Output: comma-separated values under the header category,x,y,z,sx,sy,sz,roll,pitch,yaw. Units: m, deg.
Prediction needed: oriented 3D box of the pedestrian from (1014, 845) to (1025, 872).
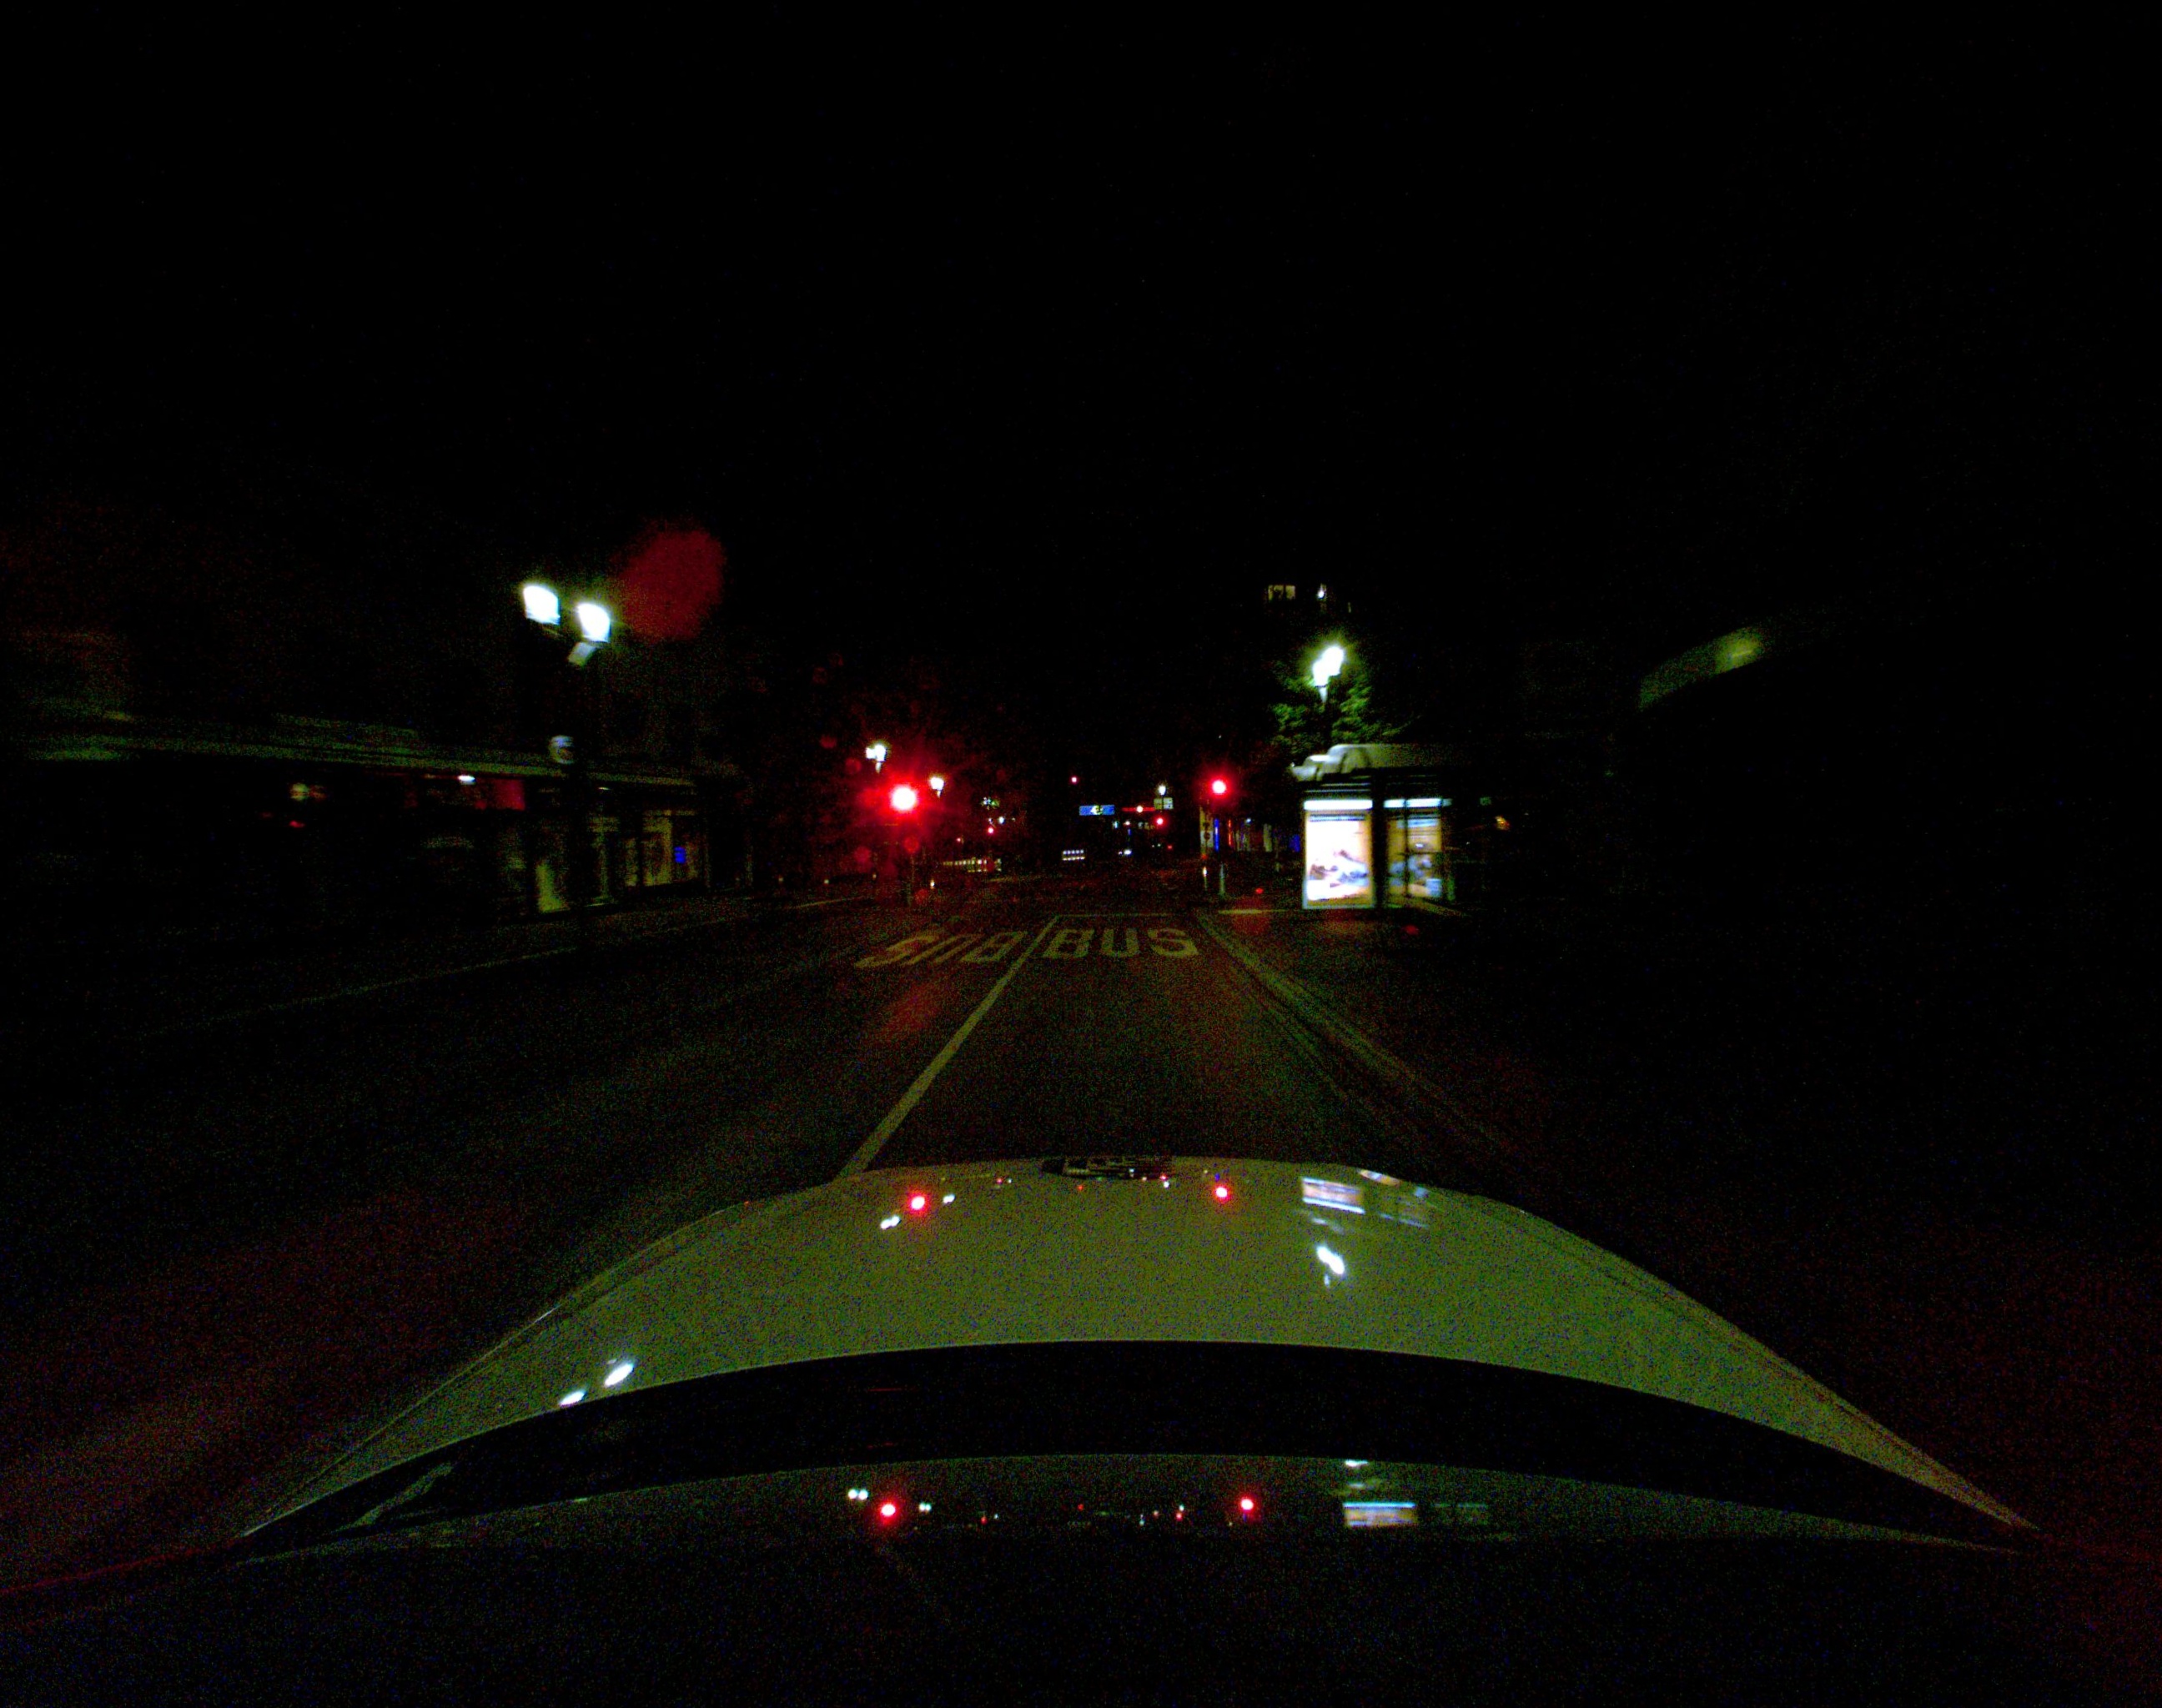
category,x,y,z,sx,sy,sz,roll,pitch,yaw
pedestrian,-4.026,0.291,53.175,0.568,1.795,0.714,0,-1,-15

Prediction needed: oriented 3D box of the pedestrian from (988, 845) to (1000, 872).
category,x,y,z,sx,sy,sz,roll,pitch,yaw
pedestrian,-5.868,0.322,54.762,0.571,1.795,0.711,0,-2,-30

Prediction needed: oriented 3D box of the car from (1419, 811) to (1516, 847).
category,x,y,z,sx,sy,sz,roll,pitch,yaw
car,19.499,-1.260,41.273,4.018,1.452,1.830,-4,1,9

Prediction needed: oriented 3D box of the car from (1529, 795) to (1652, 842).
category,x,y,z,sx,sy,sz,roll,pitch,yaw
car,24.354,-1.634,39.012,4.783,1.910,2.172,-1,-2,38

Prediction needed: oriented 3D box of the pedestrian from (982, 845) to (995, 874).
category,x,y,z,sx,sy,sz,roll,pitch,yaw
pedestrian,-5.839,0.369,51.455,0.711,1.795,0.571,-1,-1,9

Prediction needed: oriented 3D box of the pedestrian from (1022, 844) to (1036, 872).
category,x,y,z,sx,sy,sz,roll,pitch,yaw
pedestrian,-3.339,0.251,52.604,0.737,1.795,0.713,0,-2,-19

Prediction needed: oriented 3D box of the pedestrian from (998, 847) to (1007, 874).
category,x,y,z,sx,sy,sz,roll,pitch,yaw
pedestrian,-5.114,0.422,53.122,0.566,1.795,0.717,0,-1,-4

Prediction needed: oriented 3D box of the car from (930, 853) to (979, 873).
category,x,y,z,sx,sy,sz,roll,pitch,yaw
car,-10.831,0.774,69.680,3.727,1.618,1.841,-1,-1,11

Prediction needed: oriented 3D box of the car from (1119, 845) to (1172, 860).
category,x,y,z,sx,sy,sz,roll,pitch,yaw
car,5.734,-0.155,72.536,4.427,1.297,1.632,0,-1,-16
